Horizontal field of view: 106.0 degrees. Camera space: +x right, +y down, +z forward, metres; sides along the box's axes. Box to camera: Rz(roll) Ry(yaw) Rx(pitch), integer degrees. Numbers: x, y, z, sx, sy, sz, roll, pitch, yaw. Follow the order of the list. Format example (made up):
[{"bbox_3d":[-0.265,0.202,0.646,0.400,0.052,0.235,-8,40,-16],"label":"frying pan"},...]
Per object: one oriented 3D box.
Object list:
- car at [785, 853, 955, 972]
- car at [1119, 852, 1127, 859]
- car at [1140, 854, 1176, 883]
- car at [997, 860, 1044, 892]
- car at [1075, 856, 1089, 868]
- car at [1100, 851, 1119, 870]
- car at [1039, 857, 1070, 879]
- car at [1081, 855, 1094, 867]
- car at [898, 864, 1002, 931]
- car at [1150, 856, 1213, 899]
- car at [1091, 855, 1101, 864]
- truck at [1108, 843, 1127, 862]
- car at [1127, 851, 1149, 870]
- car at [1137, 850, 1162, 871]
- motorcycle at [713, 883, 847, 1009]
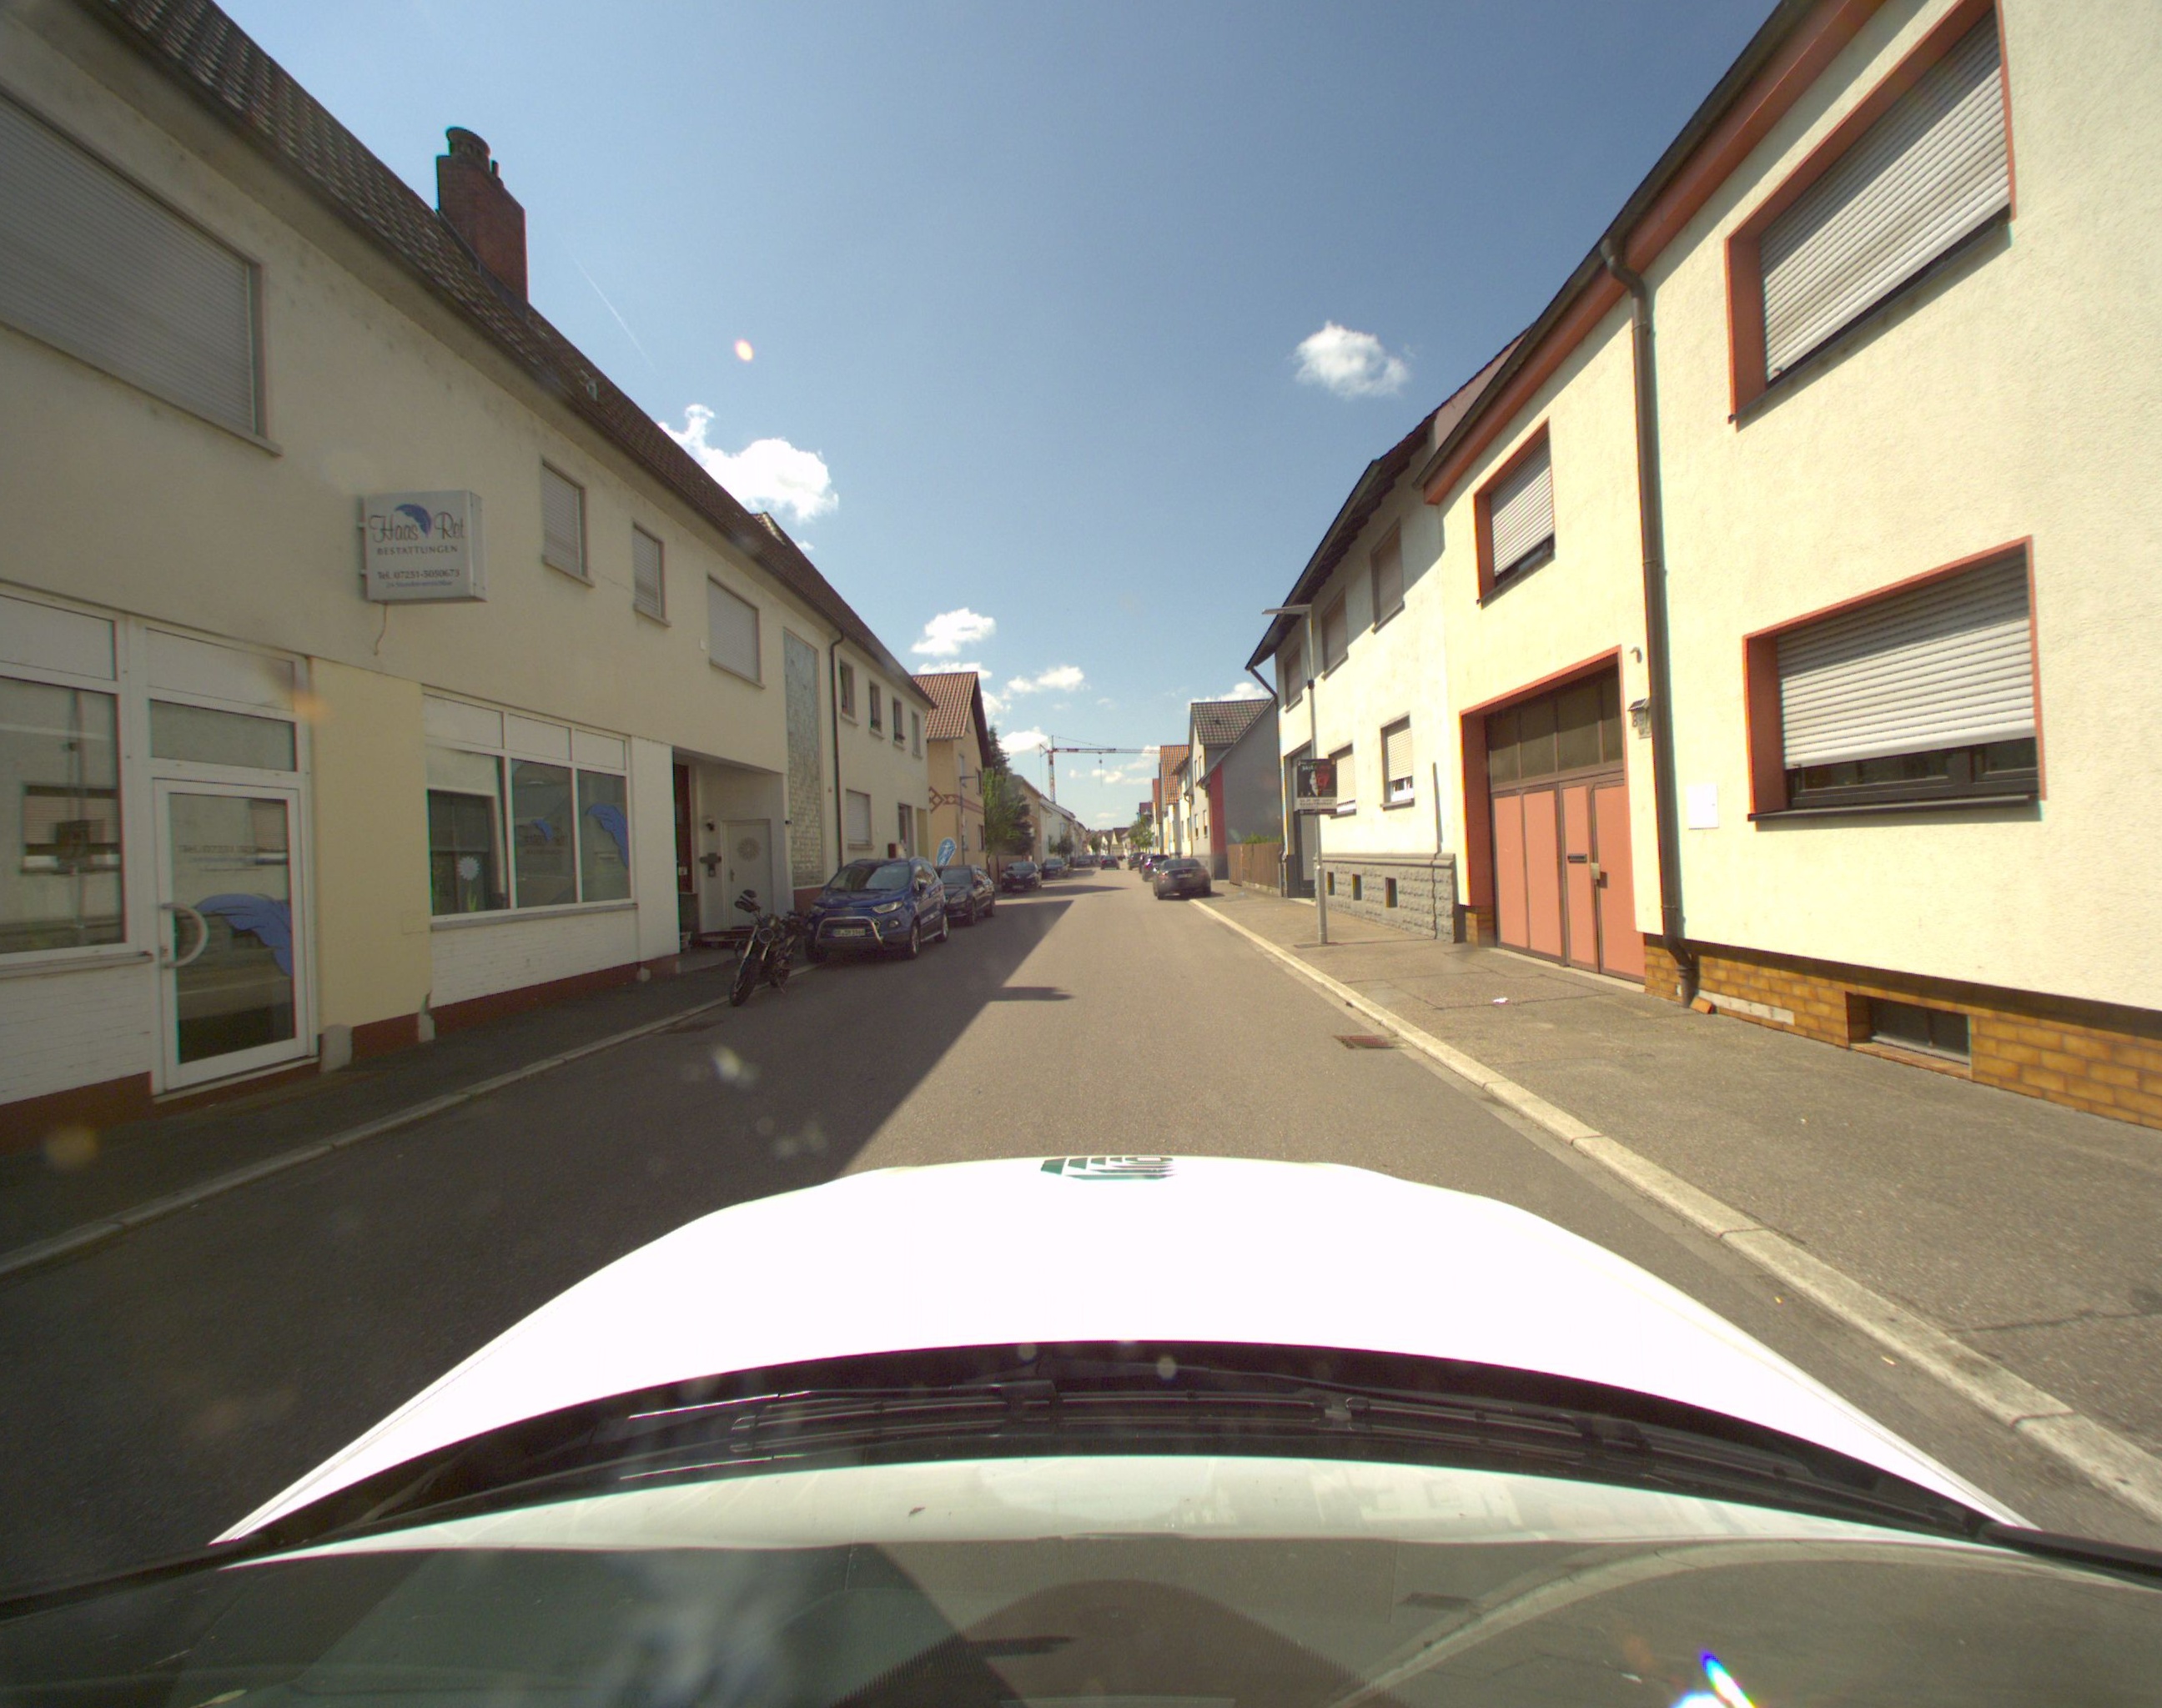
[{"bbox_3d":[-3.490,0.881,14.326,1.711,1.639,4.149,-5,0,1],"label":"car"},{"bbox_3d":[11.169,0.346,214.914,1.777,1.564,4.337,-4,0,0],"label":"car"},{"bbox_3d":[4.179,0.763,44.488,1.682,1.422,3.659,-3,0,2],"label":"car"},{"bbox_3d":[-2.833,1.021,38.868,1.755,1.374,4.068,-2,0,2],"label":"car"},{"bbox_3d":[0.151,1.083,109.125,1.752,1.525,4.291,-3,0,2],"label":"car"},{"bbox_3d":[2.938,0.661,84.074,1.776,1.753,4.001,-4,0,1],"label":"car"},{"bbox_3d":[-1.914,0.983,59.635,1.760,1.460,4.441,-3,0,4],"label":"car"},{"bbox_3d":[0.900,0.996,116.026,1.647,1.609,4.062,-3,0,2],"label":"car"},{"bbox_3d":[-3.218,1.021,20.806,1.691,1.411,4.393,-3,0,2],"label":"car"},{"bbox_3d":[3.387,0.762,28.075,1.808,1.275,4.150,-3,0,3],"label":"car"},{"bbox_3d":[2.936,1.059,155.291,1.716,1.555,4.175,-2,0,3],"label":"car"},{"bbox_3d":[7.867,-0.260,177.269,3.367,3.865,13.928,-4,0,1],"label":"truck"},{"bbox_3d":[5.344,0.609,77.012,1.723,1.717,4.275,-3,0,0],"label":"car"},{"bbox_3d":[5.387,0.496,64.480,1.611,1.495,3.974,-6,0,2],"label":"car"},{"bbox_3d":[-3.736,1.087,10.337,0.805,1.312,2.106,-3,0,2],"label":"motorcycle"}]
